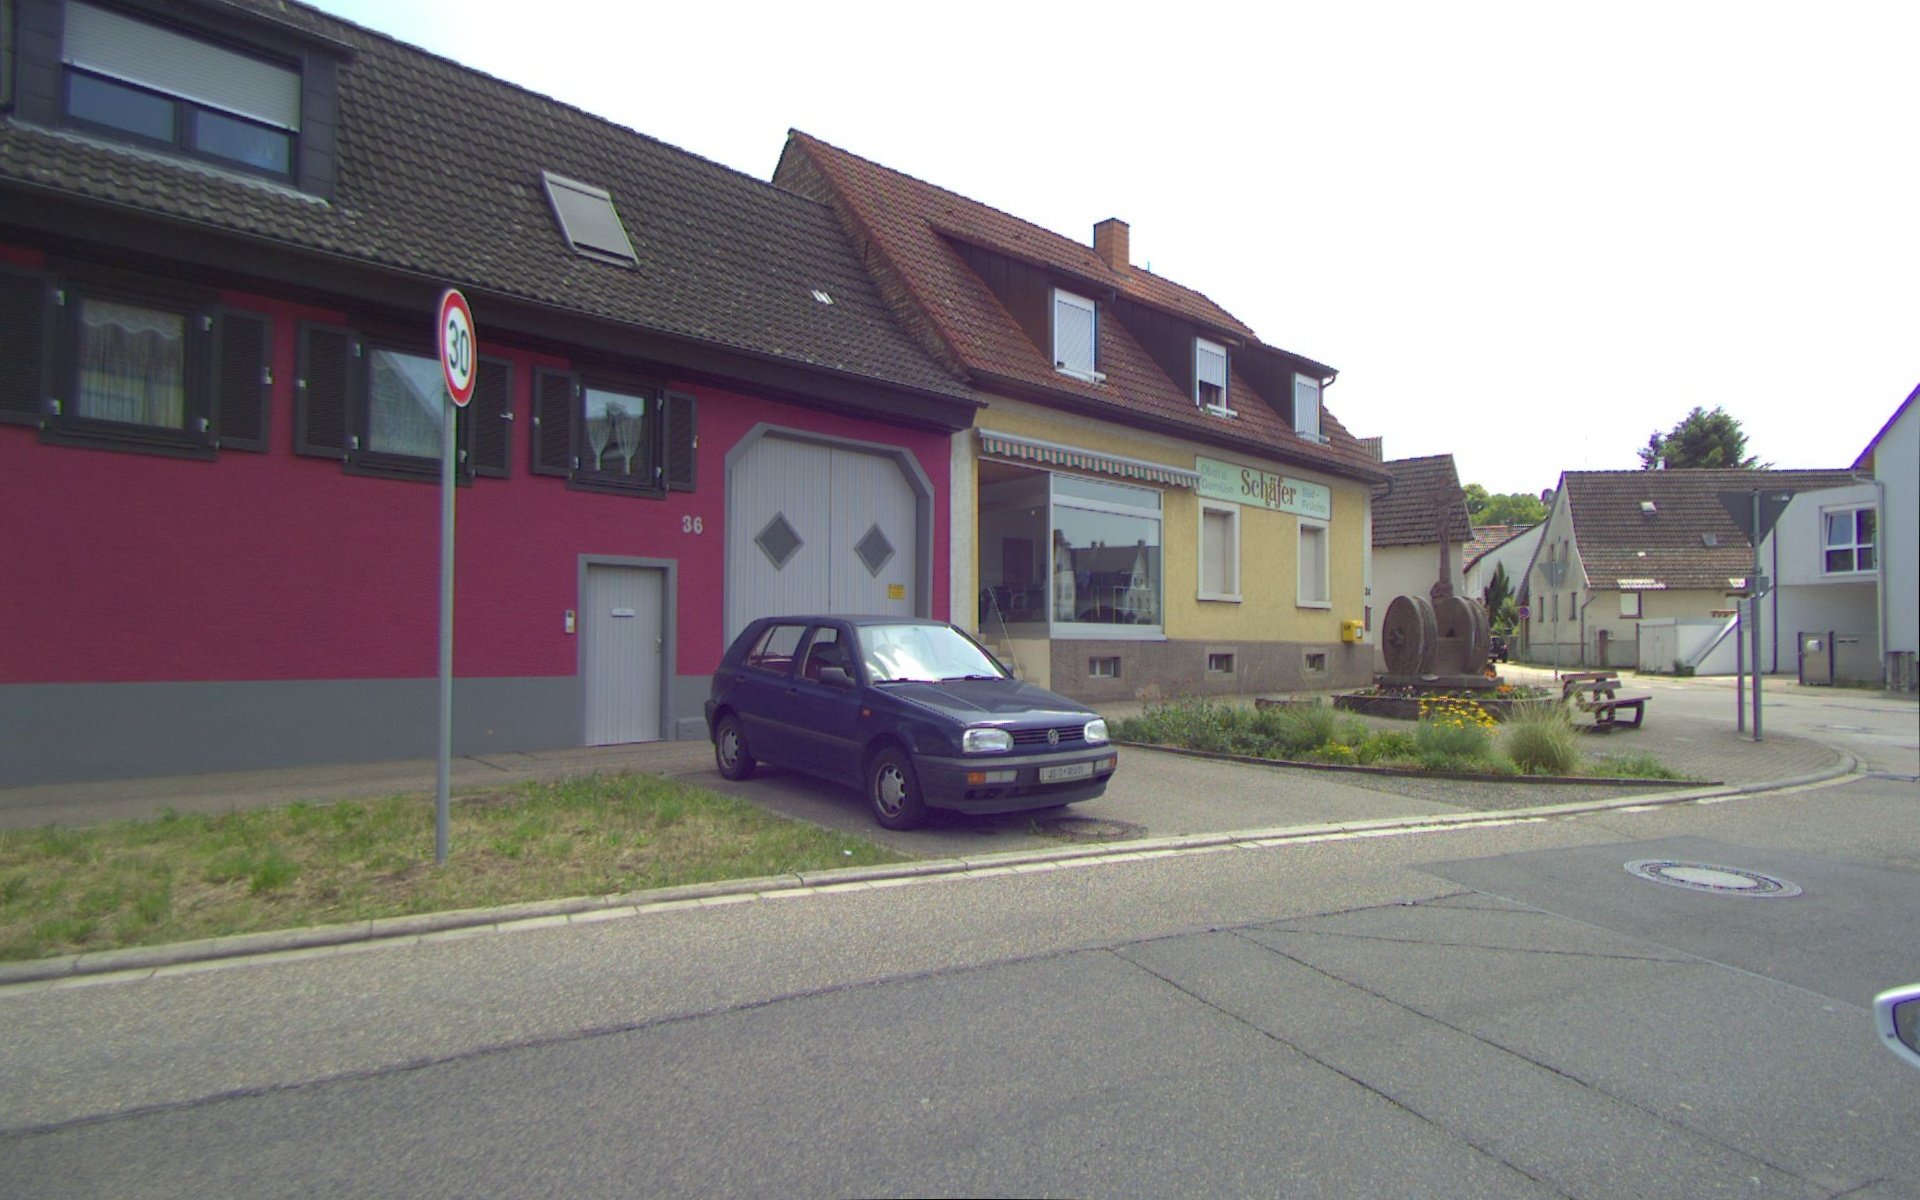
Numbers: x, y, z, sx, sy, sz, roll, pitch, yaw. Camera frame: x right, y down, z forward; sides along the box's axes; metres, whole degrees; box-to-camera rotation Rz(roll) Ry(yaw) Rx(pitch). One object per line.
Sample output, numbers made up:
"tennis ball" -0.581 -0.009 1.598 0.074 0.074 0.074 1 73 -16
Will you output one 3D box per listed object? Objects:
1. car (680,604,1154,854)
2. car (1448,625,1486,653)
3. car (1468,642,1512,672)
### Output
"car" -0.559 0.803 8.049 1.708 1.483 3.932 2 -2 -41
"car" 31.255 2.420 62.005 1.369 1.656 3.479 2 -2 15
"car" 29.802 3.197 56.573 1.461 1.550 3.479 2 -2 15
